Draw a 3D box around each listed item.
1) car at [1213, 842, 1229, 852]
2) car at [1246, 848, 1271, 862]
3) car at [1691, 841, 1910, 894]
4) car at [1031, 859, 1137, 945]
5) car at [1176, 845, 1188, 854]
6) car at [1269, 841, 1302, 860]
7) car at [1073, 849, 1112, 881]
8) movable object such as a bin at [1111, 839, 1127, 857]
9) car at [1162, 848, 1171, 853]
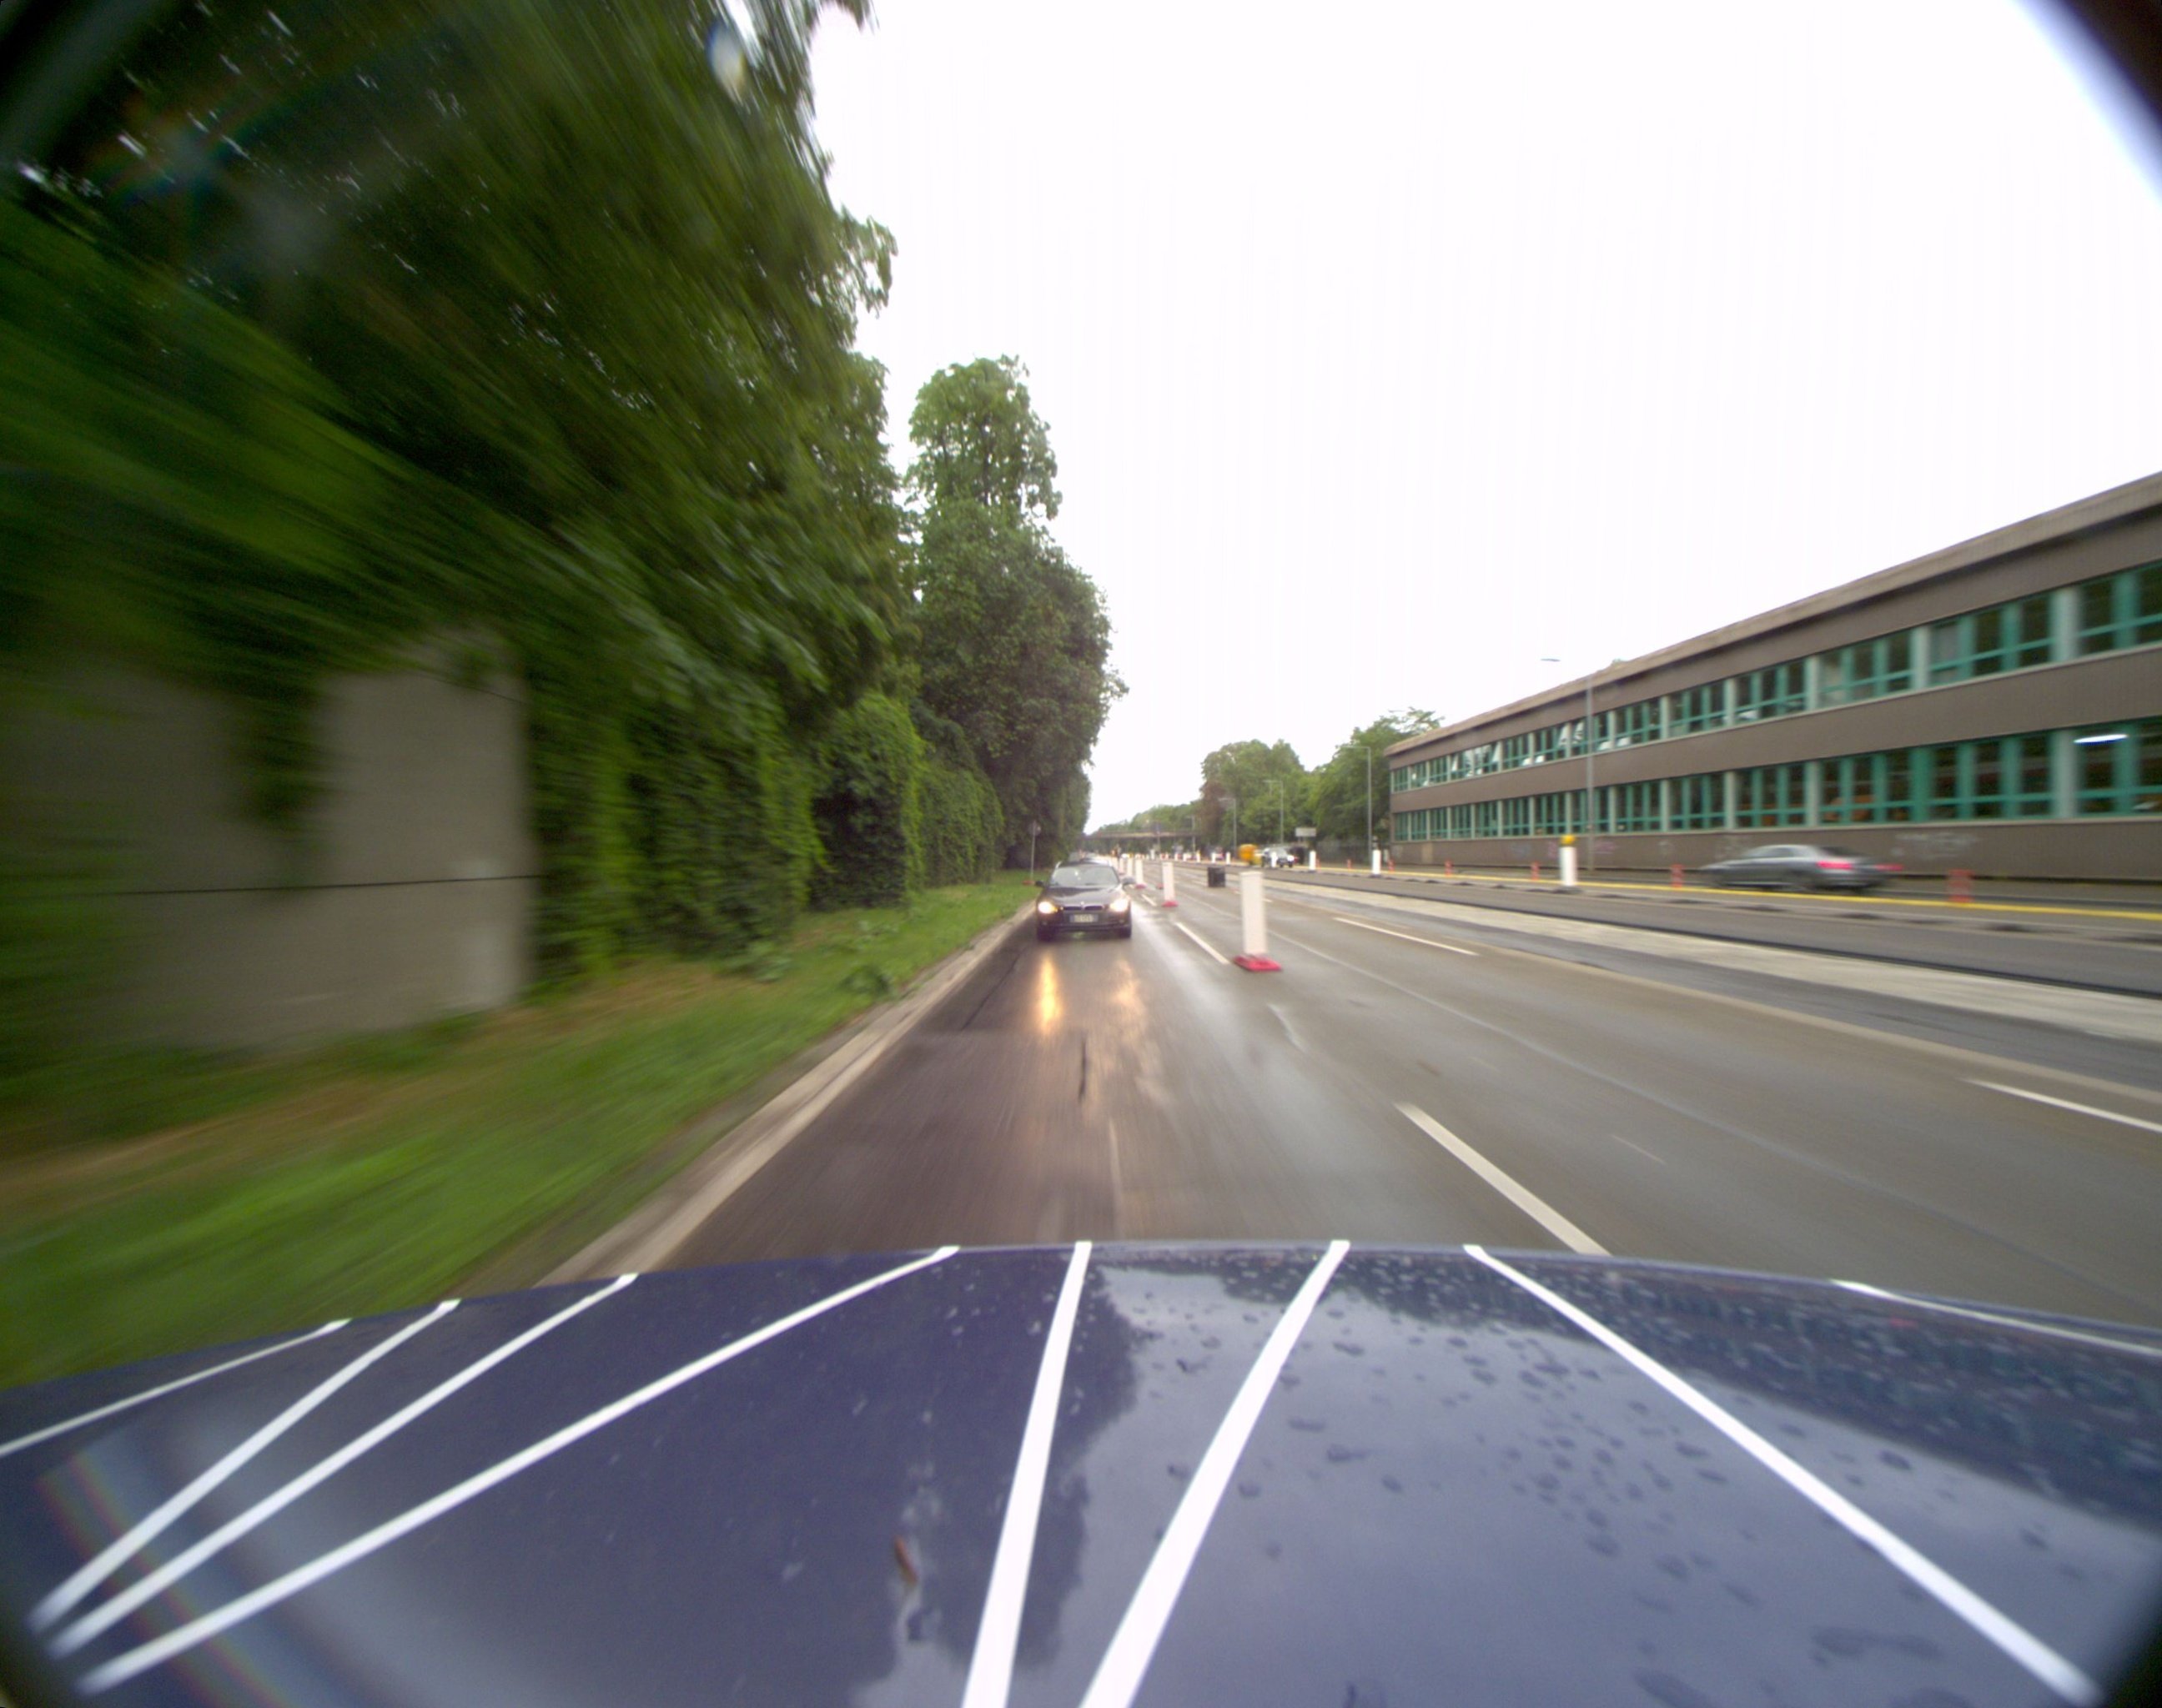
[{"bbox_3d":[24.451,-1.182,132.703,1.998,1.577,4.179,-2,1,1],"label":"car"},{"bbox_3d":[22.689,0.085,97.409,1.942,1.696,4.934,-2,1,0],"label":"car"},{"bbox_3d":[20.889,0.322,22.422,1.998,1.340,4.790,-2,1,1],"label":"car"},{"bbox_3d":[0.040,0.873,15.533,1.838,1.397,3.999,-2,1,-1],"label":"car"},{"bbox_3d":[21.668,-1.021,162.929,1.993,1.758,4.674,-2,1,2],"label":"car"},{"bbox_3d":[20.152,-0.332,74.946,1.998,1.770,4.954,-2,1,1],"label":"car"},{"bbox_3d":[0.647,0.574,42.607,1.998,1.650,4.229,-2,1,1],"label":"car"},{"bbox_3d":[9.802,-1.477,197.293,3.526,4.495,10.069,-2,1,1],"label":"movable object such as a bin"},{"bbox_3d":[24.250,-1.065,214.816,1.999,1.421,4.265,-2,0,0],"label":"car"}]
